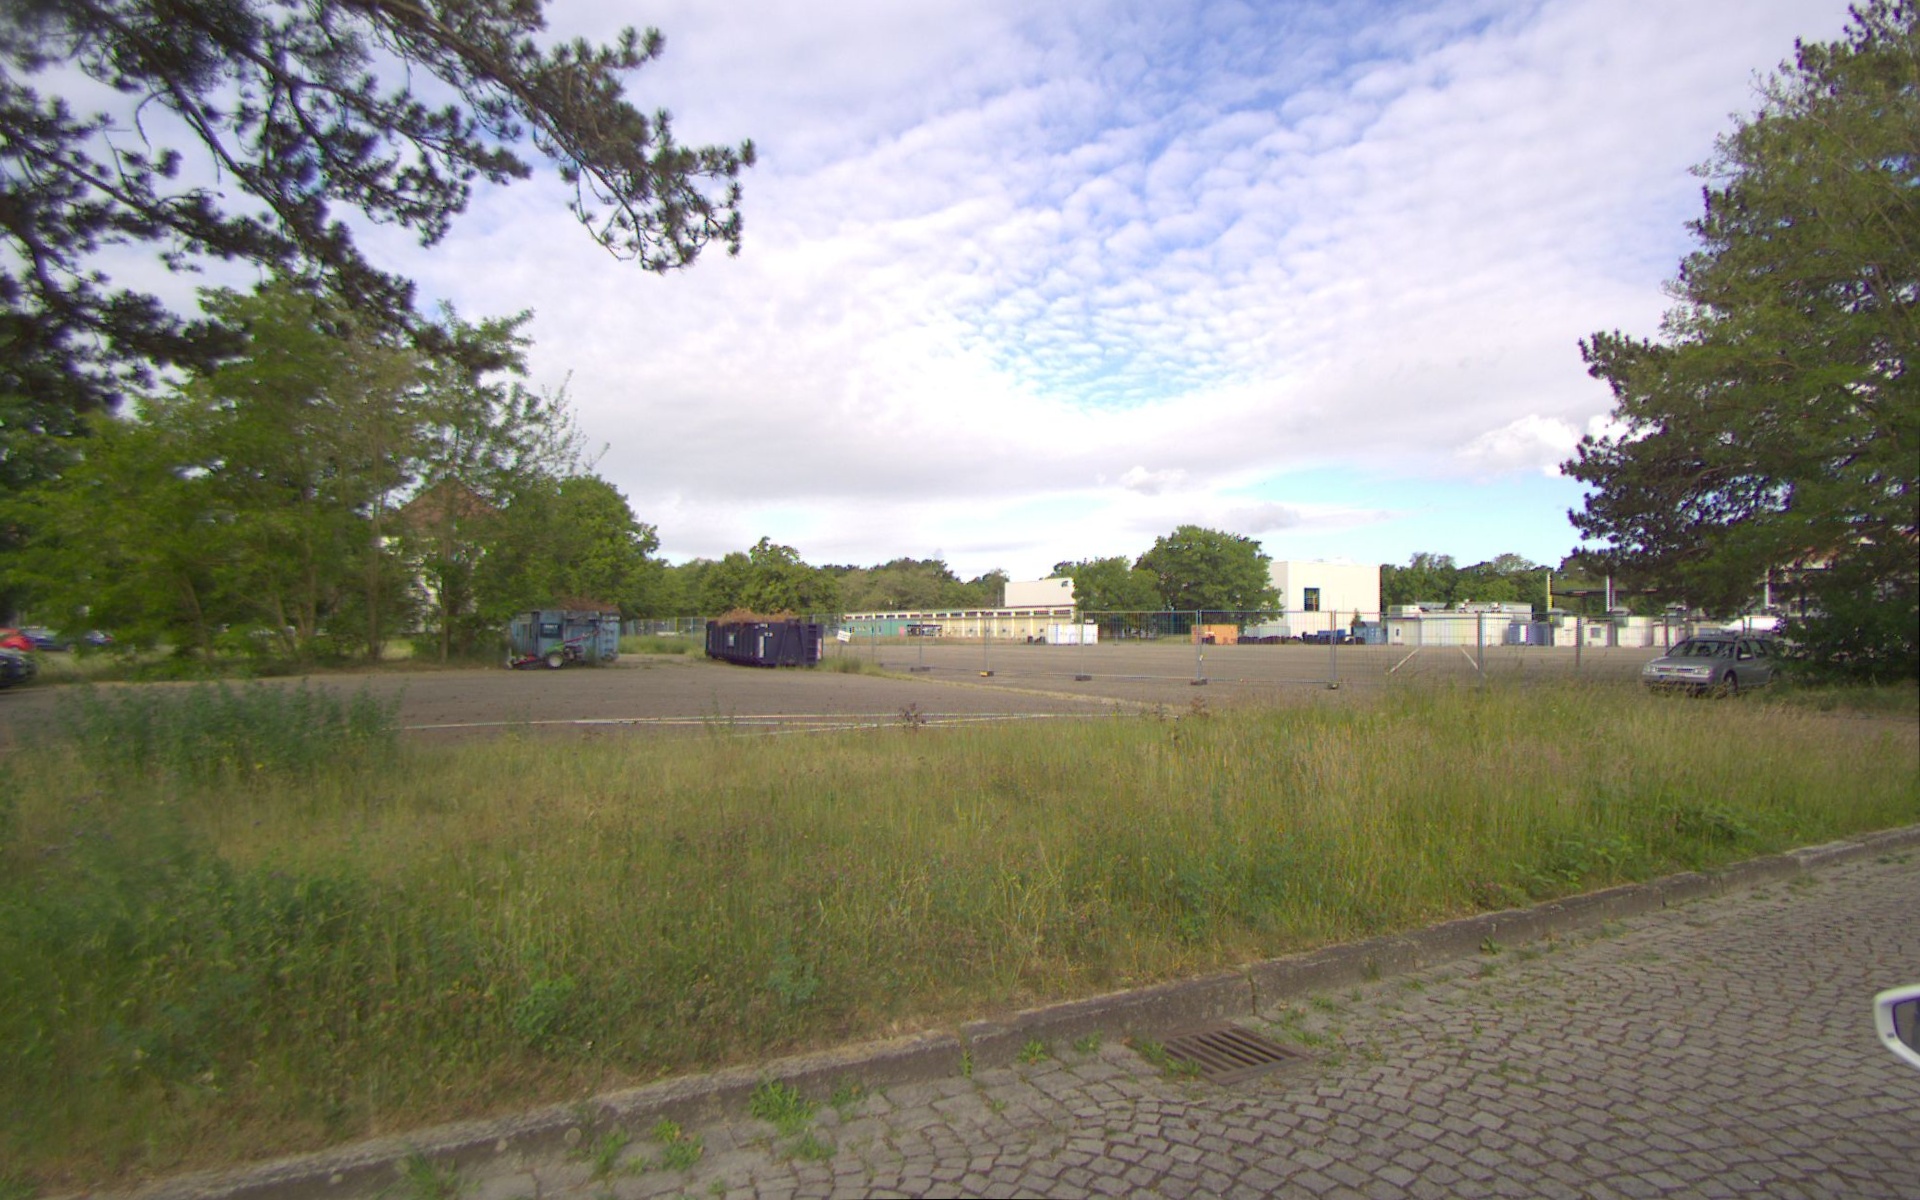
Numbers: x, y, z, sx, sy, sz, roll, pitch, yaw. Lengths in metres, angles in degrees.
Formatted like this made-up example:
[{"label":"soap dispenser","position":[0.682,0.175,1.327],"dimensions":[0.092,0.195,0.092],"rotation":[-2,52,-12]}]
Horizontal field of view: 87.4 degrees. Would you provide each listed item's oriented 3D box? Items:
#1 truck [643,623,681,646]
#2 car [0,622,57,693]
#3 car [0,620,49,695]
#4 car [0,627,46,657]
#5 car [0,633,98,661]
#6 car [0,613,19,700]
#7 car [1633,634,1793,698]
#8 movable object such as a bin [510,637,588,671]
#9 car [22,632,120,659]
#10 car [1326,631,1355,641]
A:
[{"label":"truck","position":[-30.018,3.442,101.095],"dimensions":[2.346,2.227,6.505],"rotation":[1,-2,-29]},{"label":"car","position":[-22.708,1.296,21.965],"dimensions":[4.064,1.542,1.725],"rotation":[-1,-1,-30]},{"label":"car","position":[-21.165,1.183,19.707],"dimensions":[4.529,1.489,1.827],"rotation":[-1,-1,-30]},{"label":"car","position":[-51.815,2.280,53.332],"dimensions":[4.533,1.542,1.825],"rotation":[-1,-1,-32]},{"label":"car","position":[-56.587,2.915,62.222],"dimensions":[4.533,1.542,1.825],"rotation":[-1,-1,-32]},{"label":"car","position":[-19.716,1.062,17.509],"dimensions":[4.533,1.599,1.825],"rotation":[-1,-1,-32]},{"label":"car","position":[18.670,1.569,24.855],"dimensions":[4.417,1.457,1.706],"rotation":[1,-2,-32]},{"label":"movable object such as a bin","position":[-12.028,1.562,29.406],"dimensions":[1.917,0.945,1.031],"rotation":[1,-3,-37]},{"label":"car","position":[-58.507,2.978,66.221],"dimensions":[4.533,1.542,1.825],"rotation":[-1,-1,-32]},{"label":"car","position":[57.138,5.433,151.047],"dimensions":[1.612,1.553,3.947],"rotation":[1,-2,-31]}]
